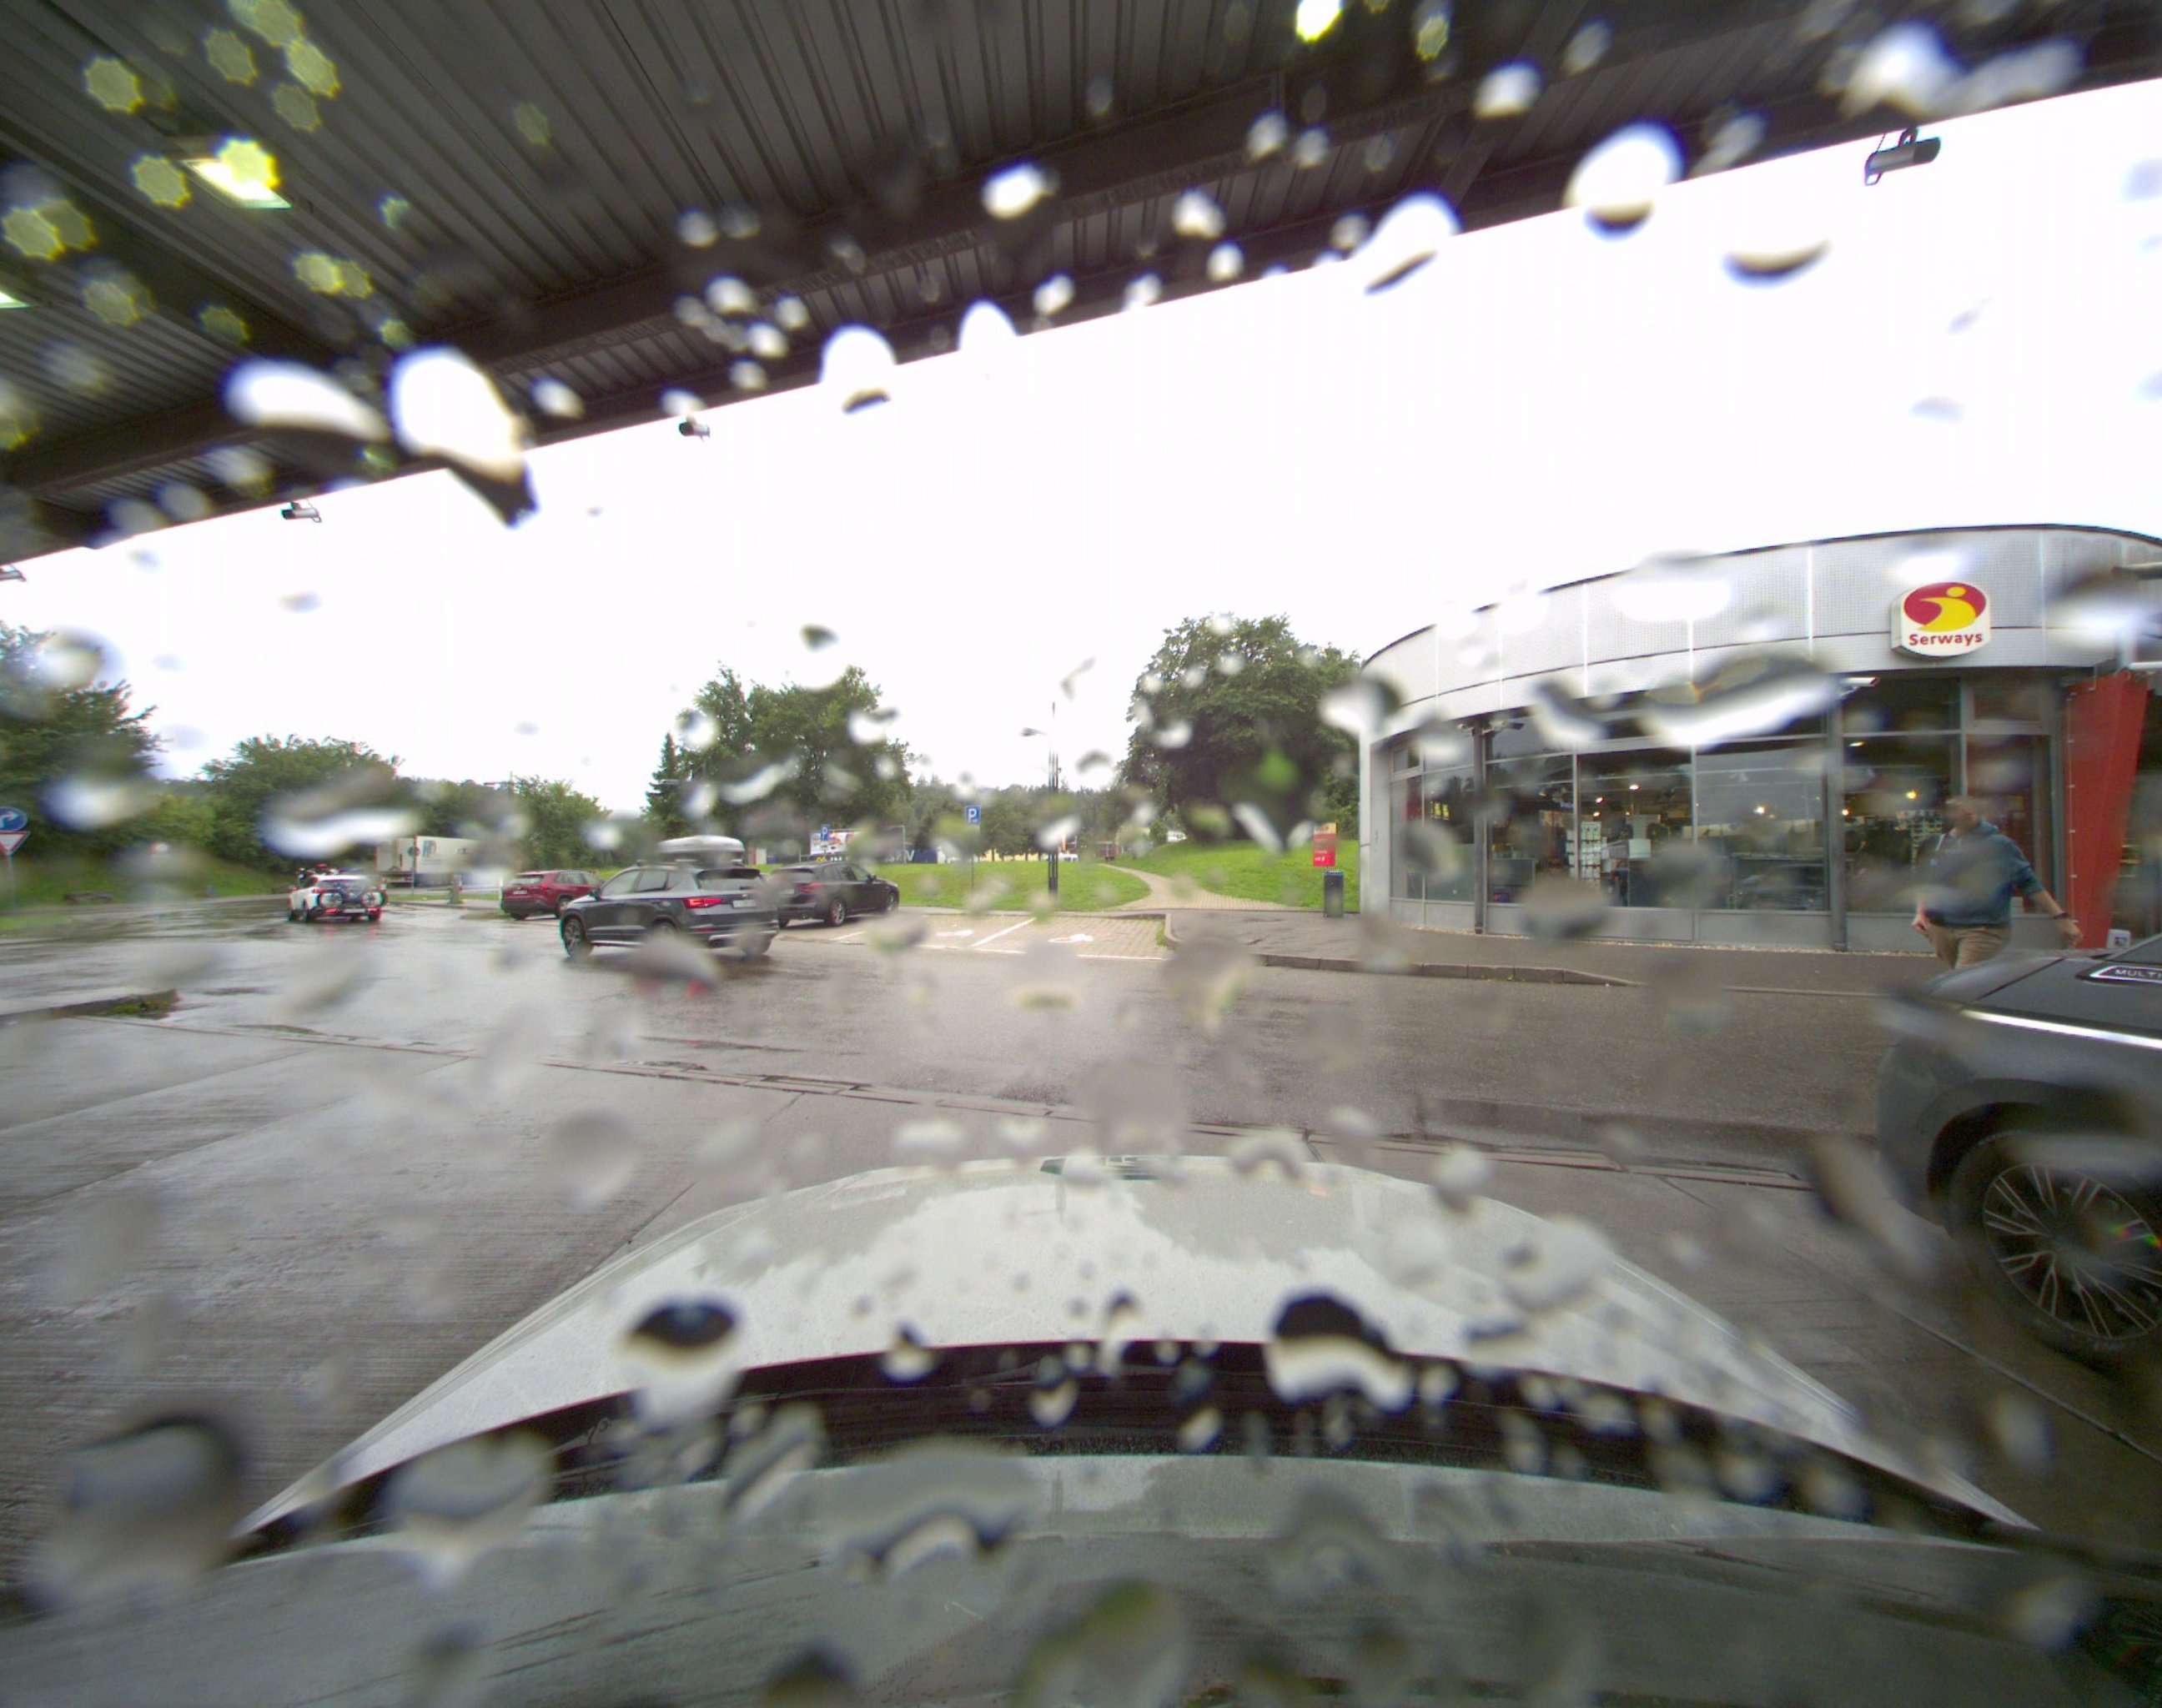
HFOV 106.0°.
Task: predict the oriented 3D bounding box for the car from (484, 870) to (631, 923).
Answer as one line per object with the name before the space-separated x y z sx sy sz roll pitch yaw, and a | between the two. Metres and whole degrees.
car | -18.154 1.422 28.533 1.873 1.596 4.364 -2 0 8

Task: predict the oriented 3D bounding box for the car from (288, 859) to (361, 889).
car | -49.228 1.269 53.124 1.934 1.838 4.361 -1 0 -20

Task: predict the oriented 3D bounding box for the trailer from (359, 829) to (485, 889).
trailer | -54.879 0.438 68.495 3.466 4.557 13.827 0 -1 -18

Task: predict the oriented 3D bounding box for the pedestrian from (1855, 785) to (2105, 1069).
pedestrian | 6.499 0.490 5.957 0.712 1.894 1.009 -1 0 4

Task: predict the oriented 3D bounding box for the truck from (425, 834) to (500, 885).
truck | -57.101 0.512 75.435 3.467 4.557 6.694 0 -1 -18

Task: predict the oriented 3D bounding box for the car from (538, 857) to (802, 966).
car | -7.058 0.870 13.933 4.271 1.587 1.902 -1 0 28

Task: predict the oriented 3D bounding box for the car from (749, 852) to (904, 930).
car | -6.613 0.892 21.751 1.871 1.828 4.429 -2 0 13

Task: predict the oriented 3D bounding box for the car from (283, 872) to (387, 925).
car | -25.137 1.418 27.385 4.939 1.565 1.831 -1 0 39

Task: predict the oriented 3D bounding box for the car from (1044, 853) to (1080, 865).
car | -3.168 0.807 134.088 5.376 2.013 2.468 -1 0 21

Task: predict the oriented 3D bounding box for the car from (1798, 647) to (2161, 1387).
car | 3.717 0.423 1.239 1.809 1.948 4.002 -1 0 2
